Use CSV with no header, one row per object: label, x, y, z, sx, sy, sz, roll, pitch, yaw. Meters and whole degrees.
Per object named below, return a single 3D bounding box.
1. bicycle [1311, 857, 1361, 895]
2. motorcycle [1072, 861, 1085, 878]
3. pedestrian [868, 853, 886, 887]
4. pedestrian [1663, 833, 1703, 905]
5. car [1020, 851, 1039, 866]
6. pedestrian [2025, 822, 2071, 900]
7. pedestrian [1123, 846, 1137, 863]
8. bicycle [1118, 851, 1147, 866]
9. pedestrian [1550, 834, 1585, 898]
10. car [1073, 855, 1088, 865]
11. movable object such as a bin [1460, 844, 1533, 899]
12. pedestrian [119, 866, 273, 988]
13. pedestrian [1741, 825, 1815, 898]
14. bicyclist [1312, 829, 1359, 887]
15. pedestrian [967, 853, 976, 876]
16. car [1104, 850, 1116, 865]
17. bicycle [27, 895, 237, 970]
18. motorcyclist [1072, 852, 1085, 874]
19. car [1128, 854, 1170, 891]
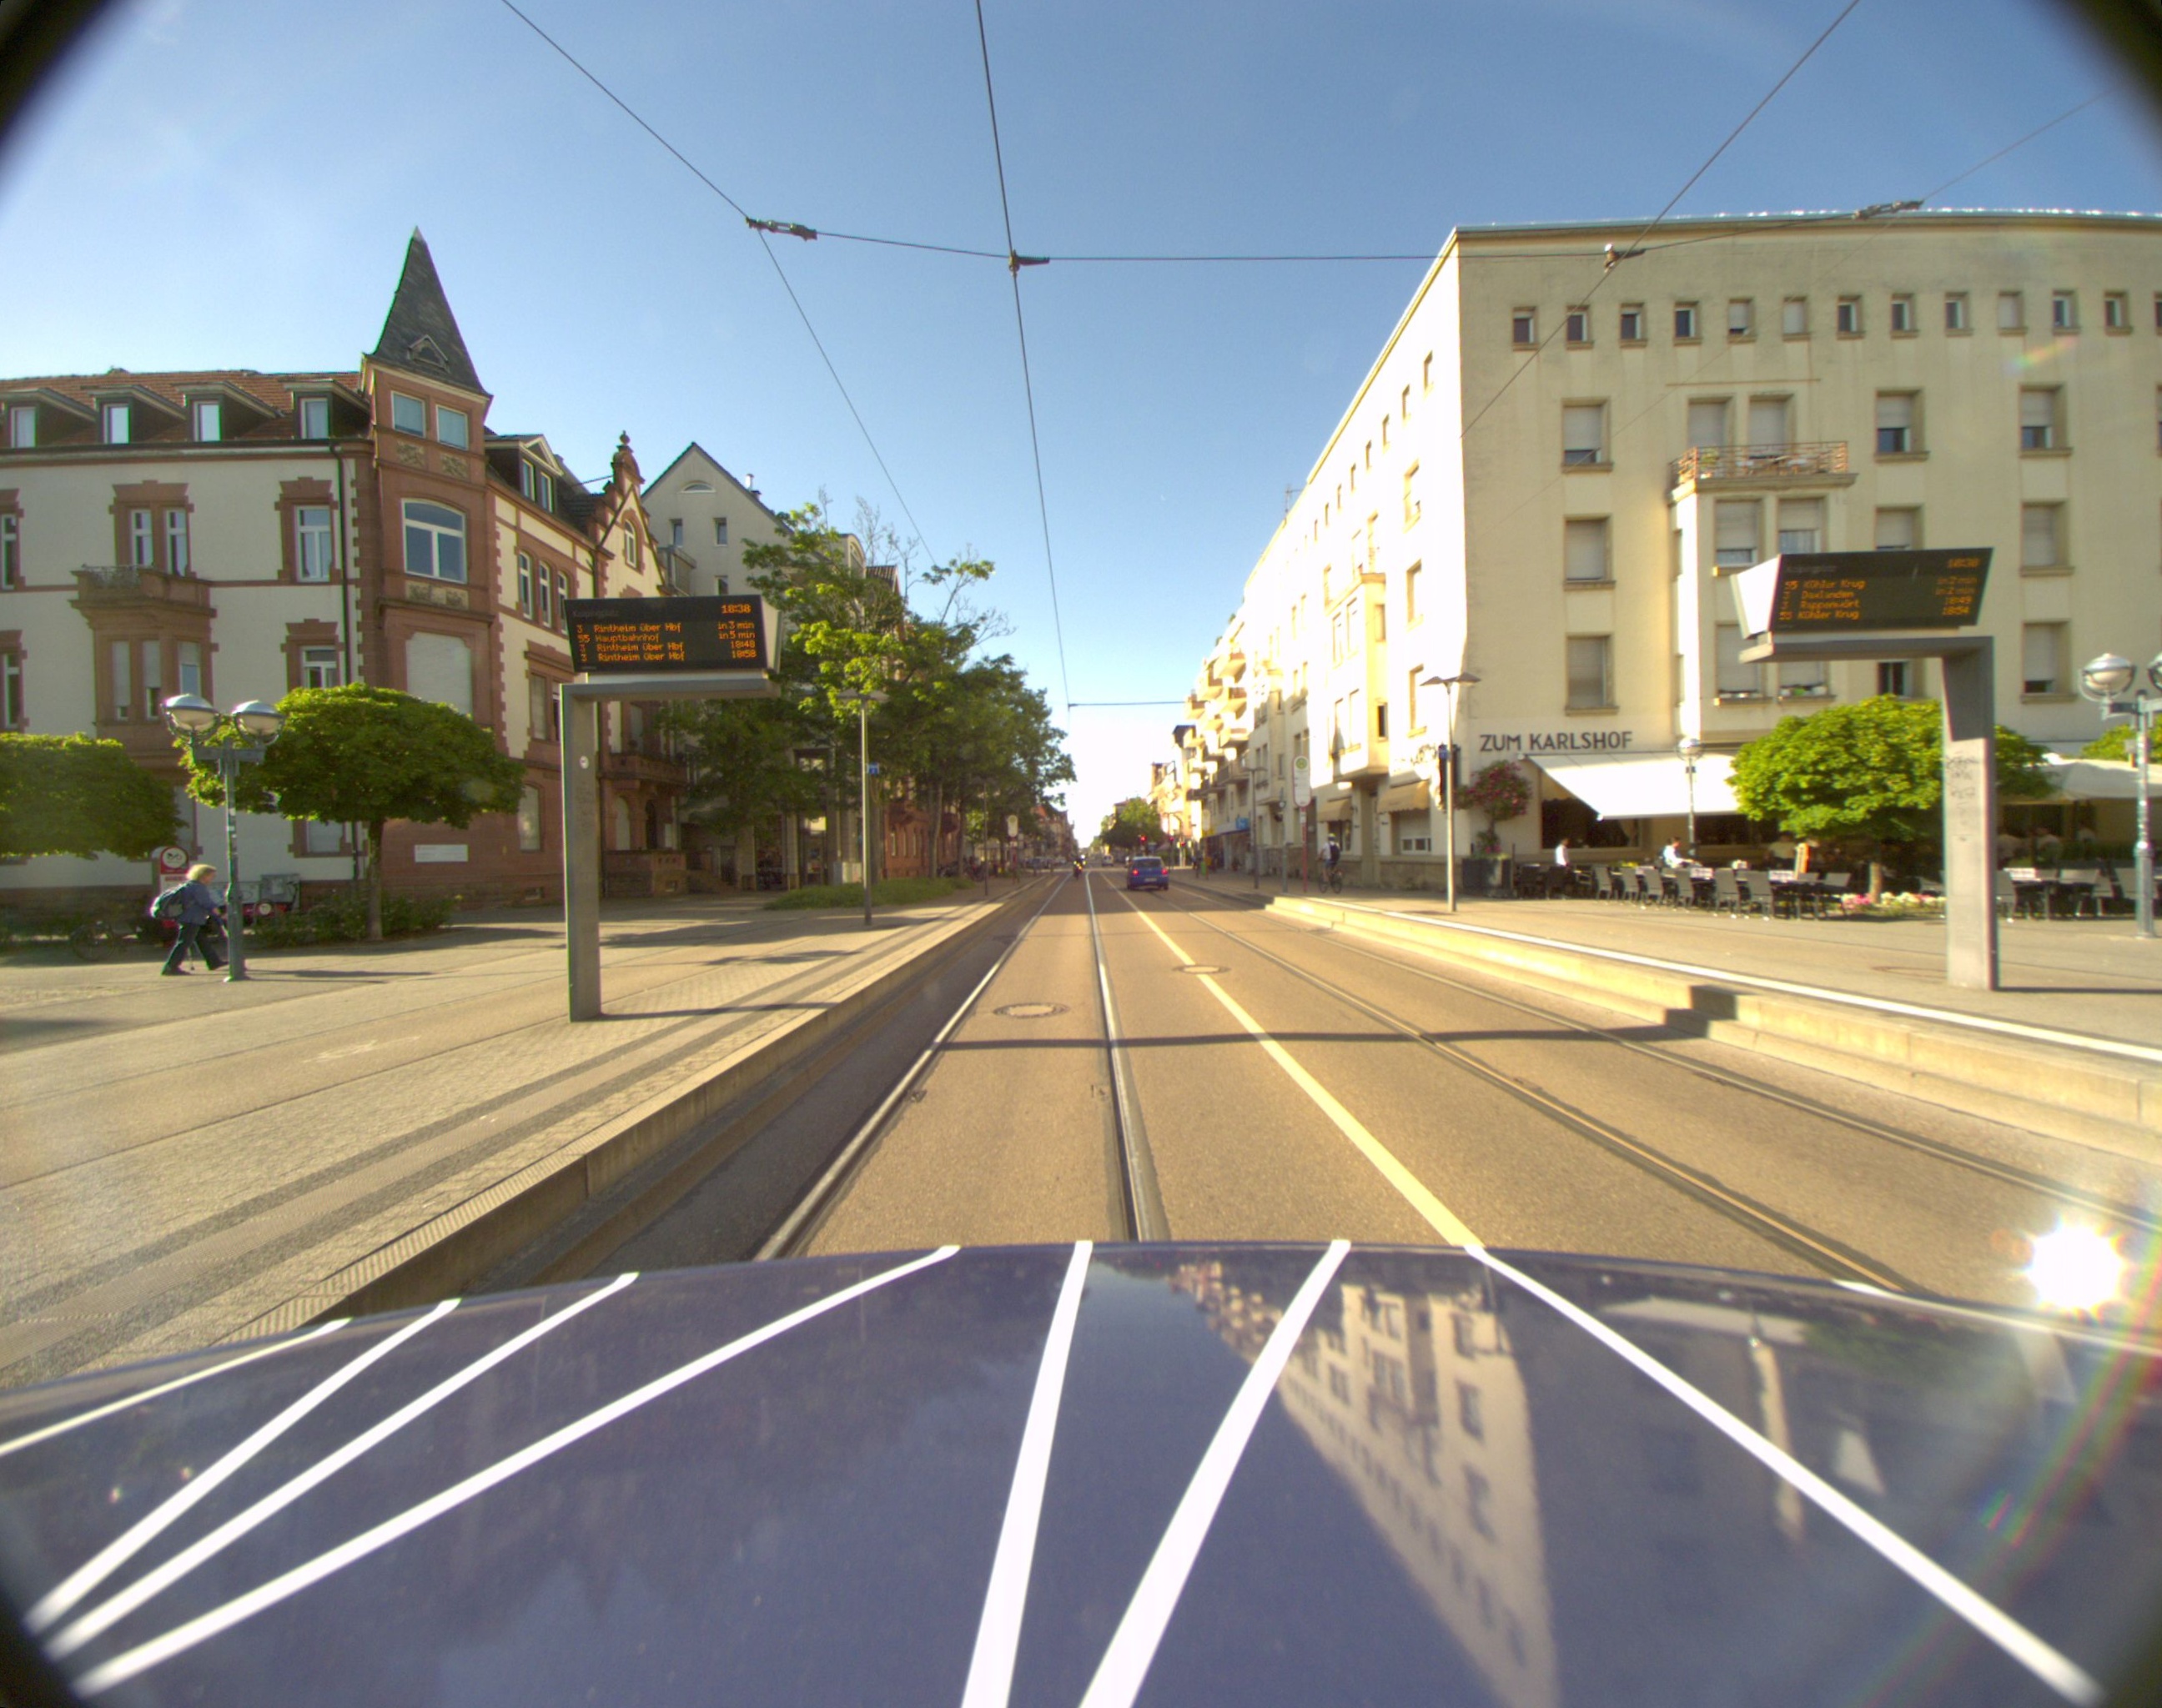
bicycle,8.032,0.676,24.046,0.714,1.119,2.035,-1,0,-6
motorcycle,-0.133,1.040,50.899,0.799,1.090,2.429,-1,0,1
pedestrian,-10.539,0.795,39.276,0.742,1.725,0.877,-2,1,-6
pedestrian,13.987,0.362,17.663,0.672,1.634,0.678,-2,-3,36
car,-7.169,0.629,105.758,1.998,2.002,4.001,-1,0,4
pedestrian,22.953,0.169,18.041,0.578,1.813,0.647,-2,1,-36
pedestrian,5.798,0.061,89.595,1.024,2.002,1.174,-2,1,-38
bicycle,6.040,0.510,89.689,3.109,1.719,1.227,-1,1,-16
pedestrian,12.600,0.323,19.685,0.672,1.634,0.752,-1,-2,27
car,-0.041,0.866,107.778,1.998,1.318,3.863,-1,0,1
movable object such as a bin,11.158,0.455,20.452,1.319,1.392,1.128,-1,1,-1
pedestrian,-12.955,1.031,11.173,1.070,1.659,0.956,-2,1,-12
pedestrian,16.347,0.173,17.839,1.066,1.635,0.756,-1,1,-4
bicyclist,8.036,0.125,24.020,1.007,1.783,1.094,-2,1,-8
pedestrian,-9.770,0.962,68.059,0.653,2.002,0.559,-1,1,3
car,4.400,0.550,115.221,1.877,2.105,4.000,-2,1,2
bicycle,-18.173,1.454,14.715,0.790,1.062,2.804,-2,2,-8
motorcyclist,-0.164,0.599,50.800,0.821,1.466,1.114,-1,1,1
car,2.967,0.779,33.611,1.671,1.479,4.001,-2,0,3
